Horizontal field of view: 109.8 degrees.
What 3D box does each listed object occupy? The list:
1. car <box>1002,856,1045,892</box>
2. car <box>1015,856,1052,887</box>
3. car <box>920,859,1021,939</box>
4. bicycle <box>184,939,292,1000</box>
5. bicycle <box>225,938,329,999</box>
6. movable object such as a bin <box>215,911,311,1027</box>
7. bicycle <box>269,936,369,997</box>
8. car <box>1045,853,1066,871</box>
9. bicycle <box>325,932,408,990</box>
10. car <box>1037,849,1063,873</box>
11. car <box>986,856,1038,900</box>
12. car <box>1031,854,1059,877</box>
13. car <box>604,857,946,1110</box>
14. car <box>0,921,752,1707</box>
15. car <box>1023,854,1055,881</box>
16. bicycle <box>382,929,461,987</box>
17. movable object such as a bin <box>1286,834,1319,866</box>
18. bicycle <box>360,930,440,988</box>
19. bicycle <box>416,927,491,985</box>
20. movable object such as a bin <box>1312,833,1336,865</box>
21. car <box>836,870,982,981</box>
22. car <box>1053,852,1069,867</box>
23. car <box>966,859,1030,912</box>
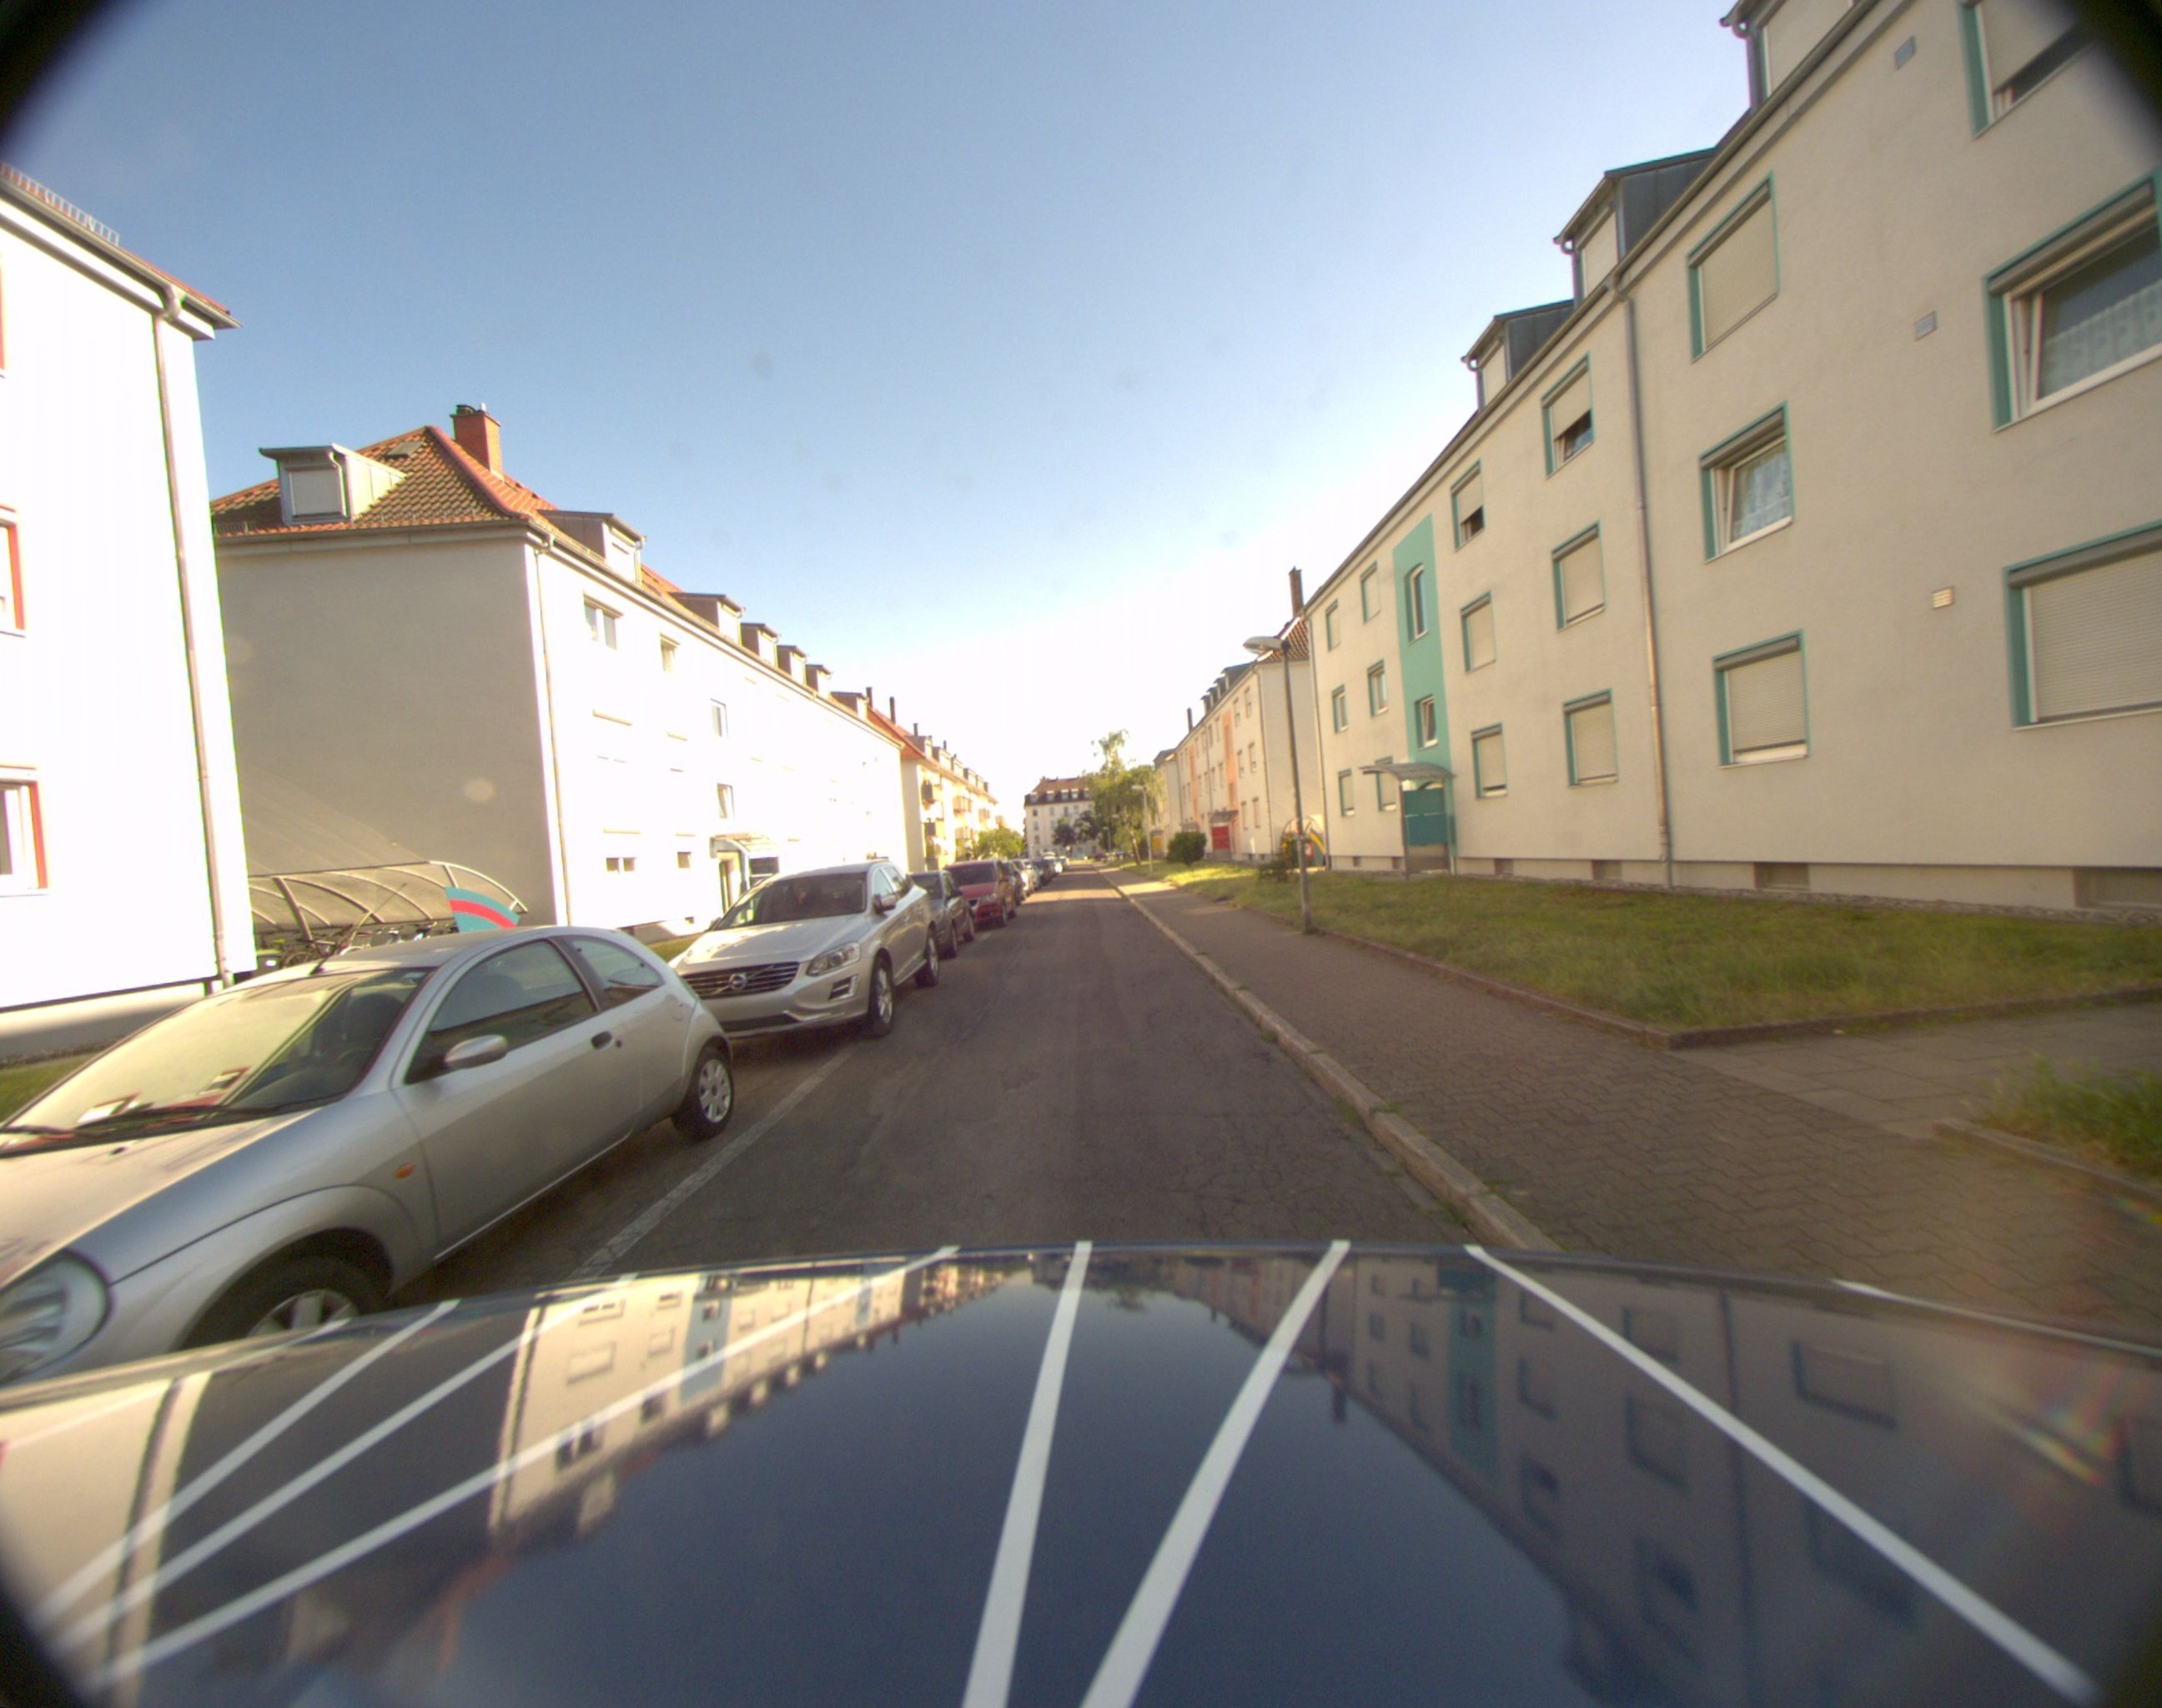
[{"bbox_3d":[-2.815,0.941,37.903,1.709,1.562,4.040,-4,0,0],"label":"car"},{"bbox_3d":[-2.691,0.951,43.766,1.709,1.562,4.040,-4,0,0],"label":"car"},{"bbox_3d":[-2.614,1.011,18.963,1.731,1.597,4.423,-4,0,0],"label":"car"},{"bbox_3d":[-16.481,2.242,14.903,0.319,0.940,1.508,-3,1,2],"label":"bicycle"},{"bbox_3d":[-15.691,2.203,14.872,0.319,0.940,1.508,-3,1,2],"label":"bicycle"},{"bbox_3d":[-11.885,1.651,11.057,0.595,1.543,0.624,-4,1,1],"label":"movable object such as a bin"},{"bbox_3d":[-14.758,2.159,14.773,0.319,0.940,1.508,-3,1,2],"label":"bicycle"},{"bbox_3d":[-2.454,0.773,74.936,1.708,1.562,4.734,-4,1,1],"label":"car"},{"bbox_3d":[-13.942,2.074,14.872,0.319,0.940,1.283,-3,1,2],"label":"bicycle"},{"bbox_3d":[-2.808,0.624,69.228,1.953,1.890,4.763,-4,1,1],"label":"car"},{"bbox_3d":[-2.855,0.964,32.184,1.709,1.562,3.876,-4,0,0],"label":"car"},{"bbox_3d":[-2.782,0.866,59.898,1.708,1.562,4.381,-4,1,3],"label":"car"},{"bbox_3d":[-2.729,1.006,8.004,1.780,1.709,4.306,-7,1,-2],"label":"car"},{"bbox_3d":[-3.047,1.228,3.176,1.632,1.386,3.488,-7,0,1],"label":"car"},{"bbox_3d":[-2.685,0.835,49.171,1.709,1.562,4.040,-4,0,0],"label":"car"},{"bbox_3d":[-12.899,2.017,14.897,0.319,0.940,1.283,-3,1,2],"label":"bicycle"},{"bbox_3d":[10.012,-0.181,34.363,1.167,1.385,0.877,-4,1,0],"label":"movable object such as a bin"},{"bbox_3d":[-13.397,2.047,14.983,0.319,0.940,1.283,-3,1,2],"label":"bicycle"},{"bbox_3d":[-12.208,1.960,14.821,0.319,0.940,1.283,-3,1,2],"label":"bicycle"},{"bbox_3d":[10.980,-0.236,34.397,0.753,1.385,0.763,-4,1,0],"label":"movable object such as a bin"},{"bbox_3d":[-2.924,1.160,13.727,1.621,1.440,3.857,-7,0,-1],"label":"car"},{"bbox_3d":[-2.391,0.645,92.456,1.708,1.562,3.925,-4,1,1],"label":"car"},{"bbox_3d":[-2.886,1.060,27.170,1.709,1.516,3.876,-7,0,0],"label":"car"}]
